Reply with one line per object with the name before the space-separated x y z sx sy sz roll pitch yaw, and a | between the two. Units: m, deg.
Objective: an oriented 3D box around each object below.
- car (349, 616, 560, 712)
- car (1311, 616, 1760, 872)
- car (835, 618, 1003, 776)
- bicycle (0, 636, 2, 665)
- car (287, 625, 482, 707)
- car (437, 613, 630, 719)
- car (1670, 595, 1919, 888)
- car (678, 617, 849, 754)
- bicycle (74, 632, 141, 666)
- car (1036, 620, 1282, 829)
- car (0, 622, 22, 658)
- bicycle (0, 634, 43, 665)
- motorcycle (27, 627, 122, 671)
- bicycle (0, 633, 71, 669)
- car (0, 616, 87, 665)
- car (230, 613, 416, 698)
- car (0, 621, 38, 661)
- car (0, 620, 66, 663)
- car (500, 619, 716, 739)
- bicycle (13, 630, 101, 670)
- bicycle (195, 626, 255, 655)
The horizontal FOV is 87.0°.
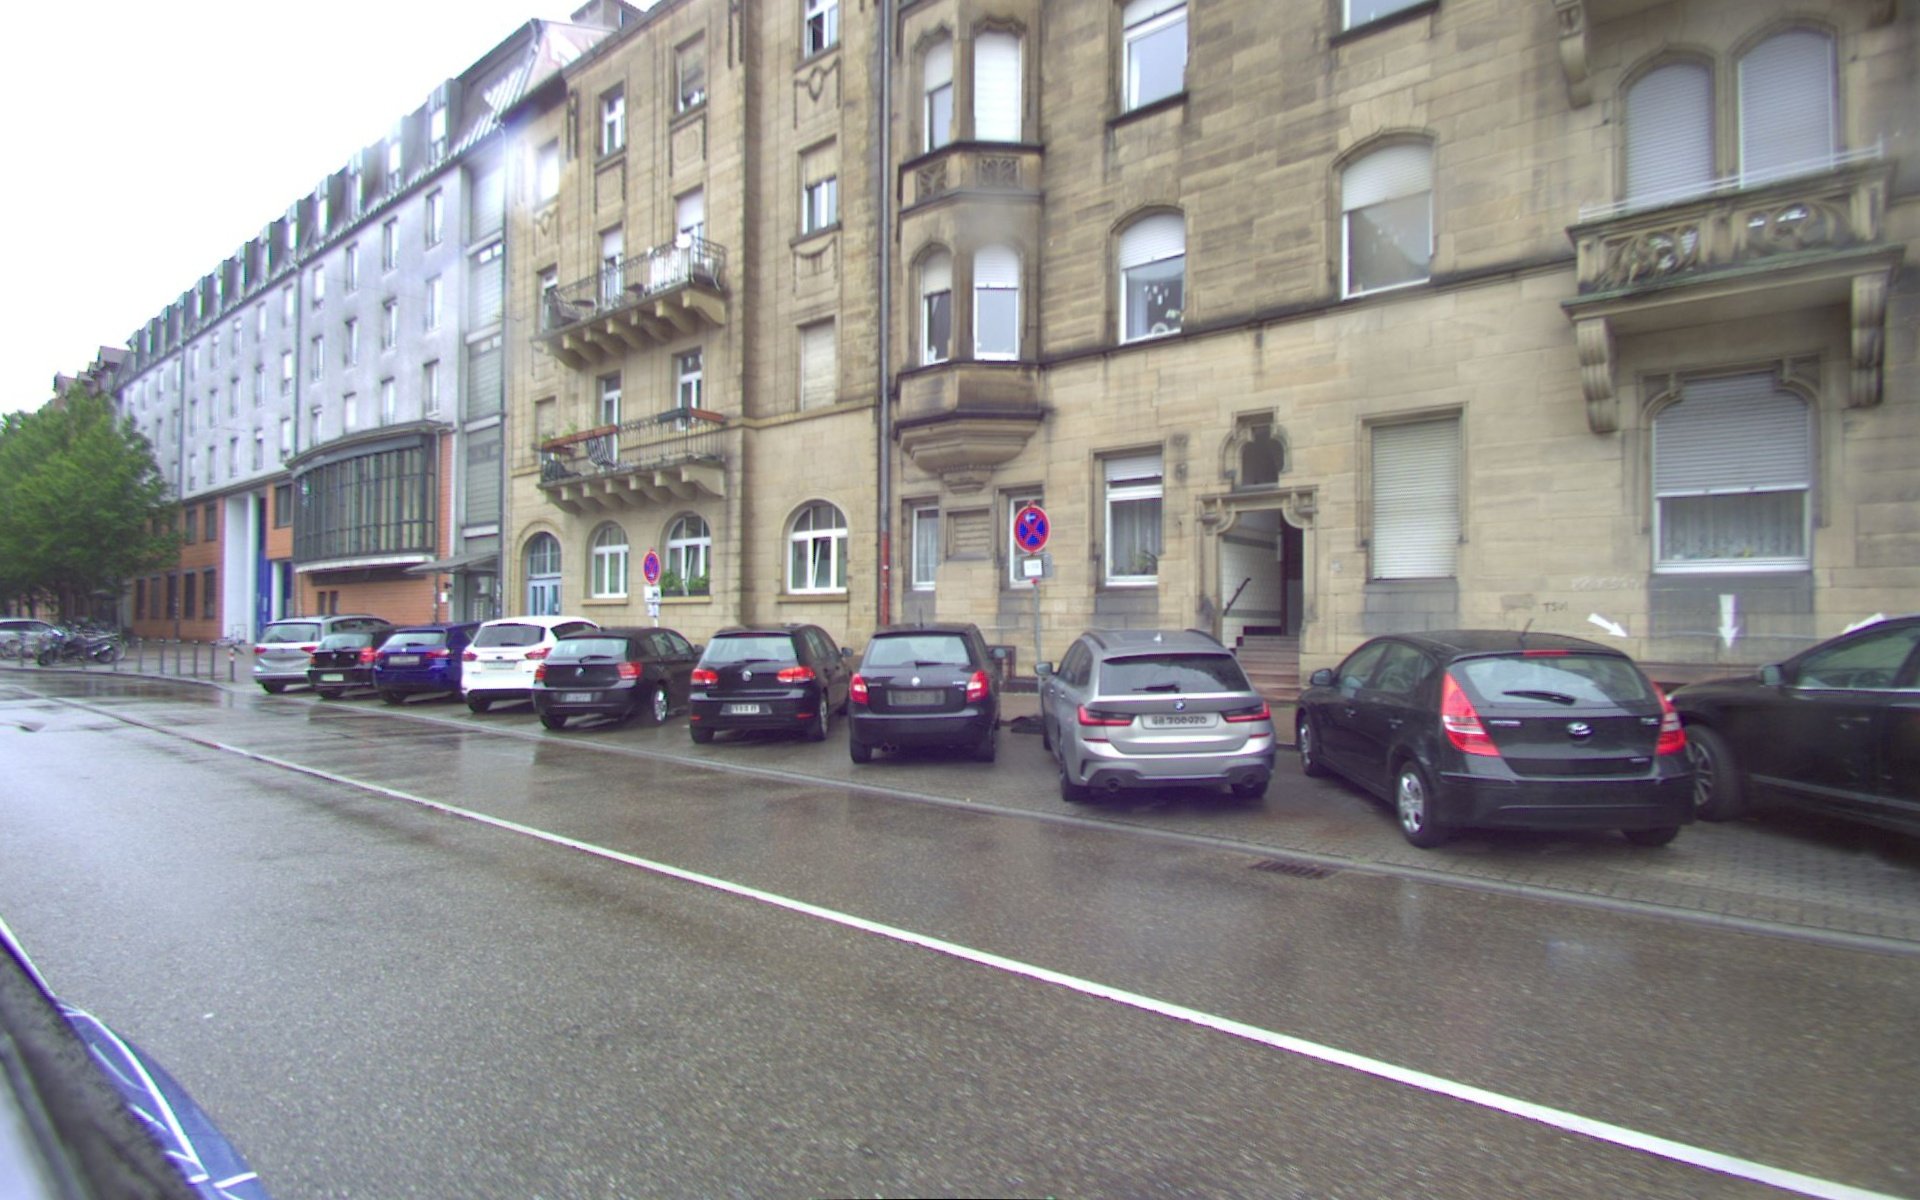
car | -9.682 1.154 19.741 1.881 1.539 3.717 0 1 9
car | 4.146 0.929 7.956 1.678 1.537 3.309 -1 0 2
car | -0.357 1.033 12.134 1.607 1.556 3.439 -1 0 4
bicycle | -32.558 1.661 33.105 0.544 1.081 1.668 -1 3 37
car | -11.885 1.338 21.205 1.697 1.539 3.721 1 -2 5
car | -7.430 1.087 18.052 1.755 1.639 3.724 -1 0 2
car | 6.485 0.818 5.952 1.740 1.705 4.084 -1 0 1
car | -2.558 1.056 13.976 1.606 1.556 3.758 -1 0 0
bicycle | -29.236 1.659 34.716 0.544 1.081 1.667 -1 0 37
car | 1.680 1.011 9.628 1.678 1.556 3.428 -1 0 1
car | -46.747 1.846 47.351 1.992 1.728 3.763 0 -3 30
bicycle | -33.425 1.732 35.578 0.544 1.081 1.667 -1 -2 37
motorcycle | -28.498 1.543 32.607 0.758 1.320 2.226 -1 -1 40
bicycle | -30.417 1.656 33.313 0.544 1.081 1.667 -1 0 37
car | -36.427 1.545 38.856 1.981 1.828 3.982 0 -2 14
car | -14.396 1.231 23.150 1.790 1.743 3.923 1 -2 -1
car | -42.590 1.769 43.618 1.992 1.728 3.763 0 -3 30
car | -39.926 1.718 42.014 1.992 1.728 3.763 0 -3 30
car | -5.234 1.110 15.598 1.757 1.556 3.721 -1 0 5
bicycle | -29.431 1.605 32.997 0.772 1.181 2.024 -1 0 37
bicycle | -31.721 1.762 43.704 1.873 1.234 0.939 2 -3 -24
